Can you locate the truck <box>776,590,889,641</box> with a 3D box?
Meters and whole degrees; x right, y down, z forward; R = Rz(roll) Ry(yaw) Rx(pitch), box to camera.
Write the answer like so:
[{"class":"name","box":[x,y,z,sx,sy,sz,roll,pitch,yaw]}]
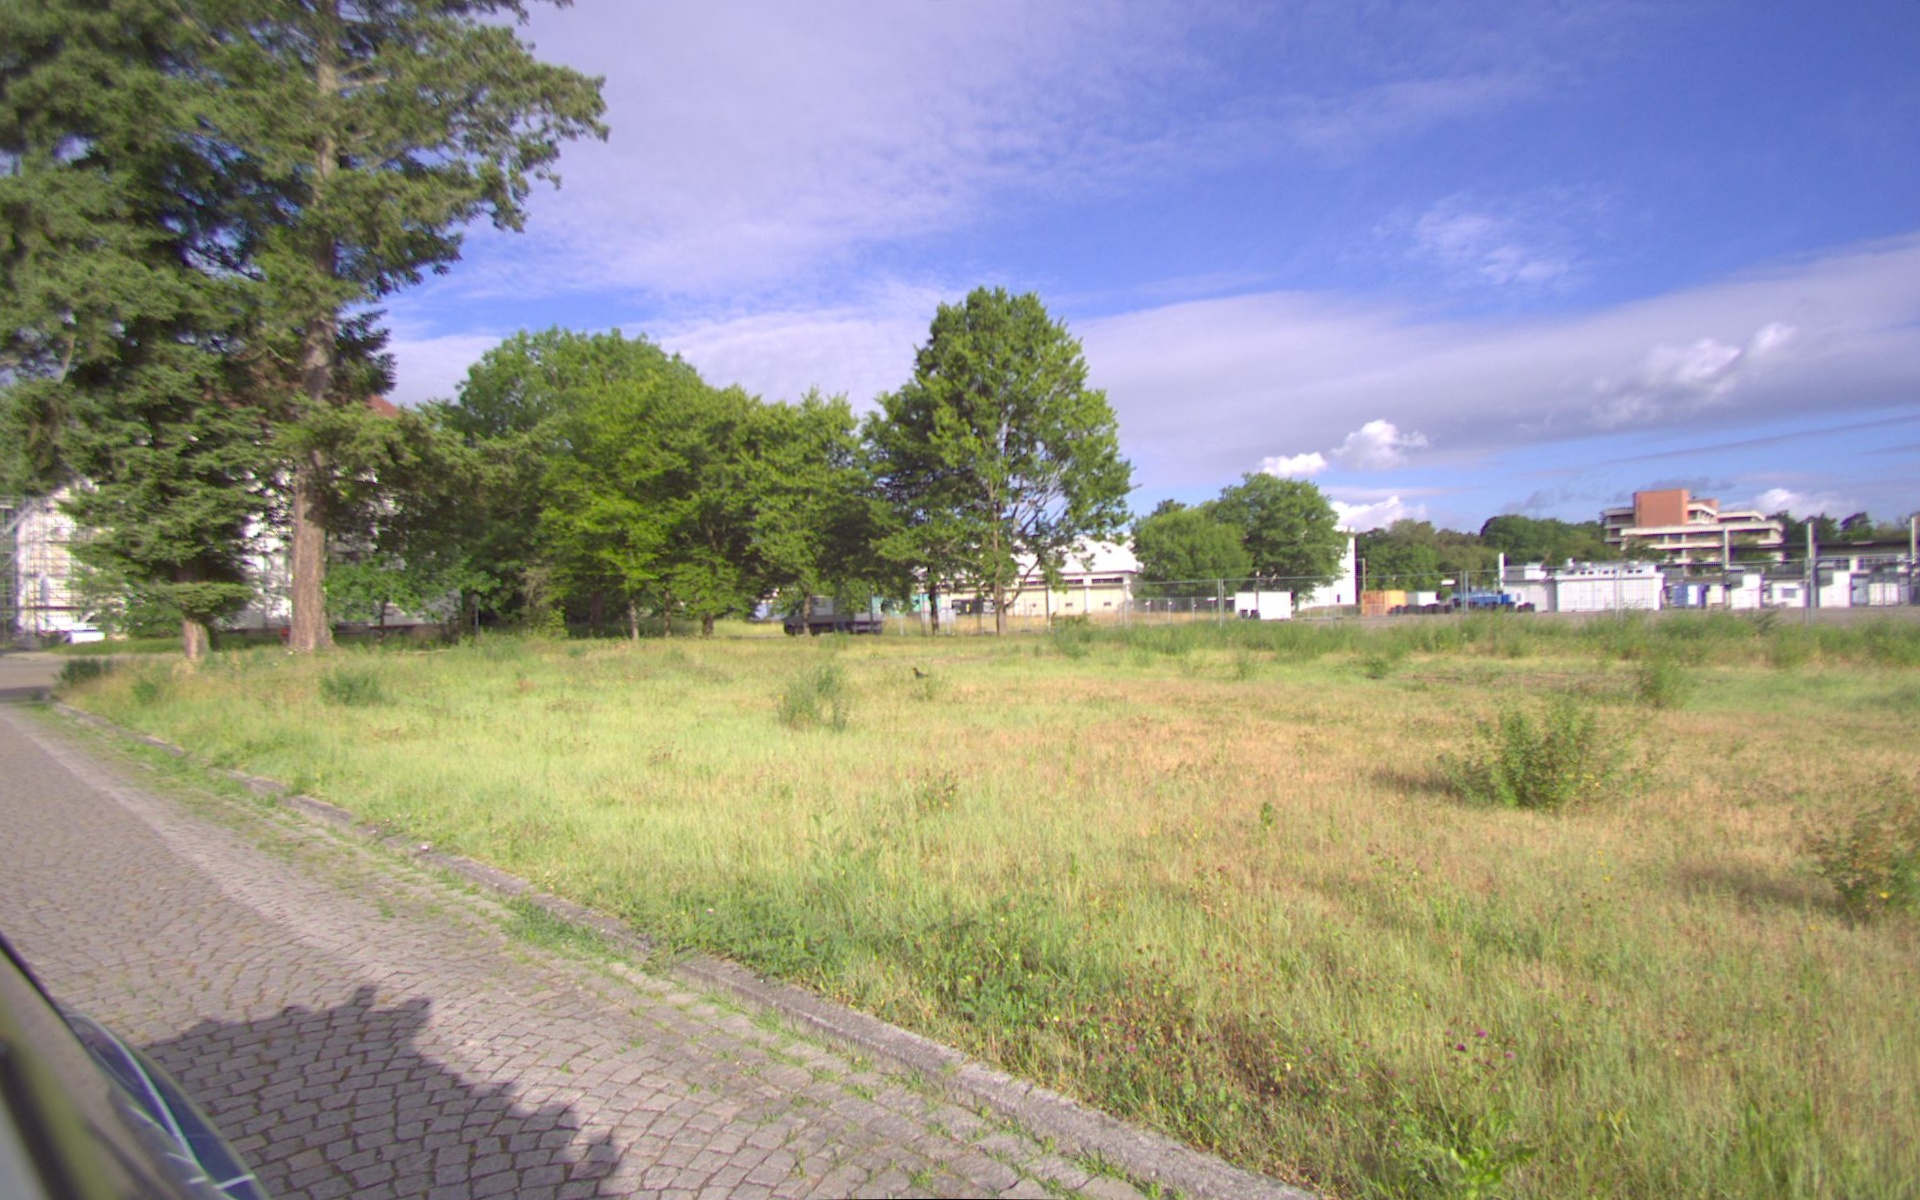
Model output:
[{"class":"truck","box":[-7.068,0.898,55.407,2.384,2.606,6.962,-1,-1,-45]}]
